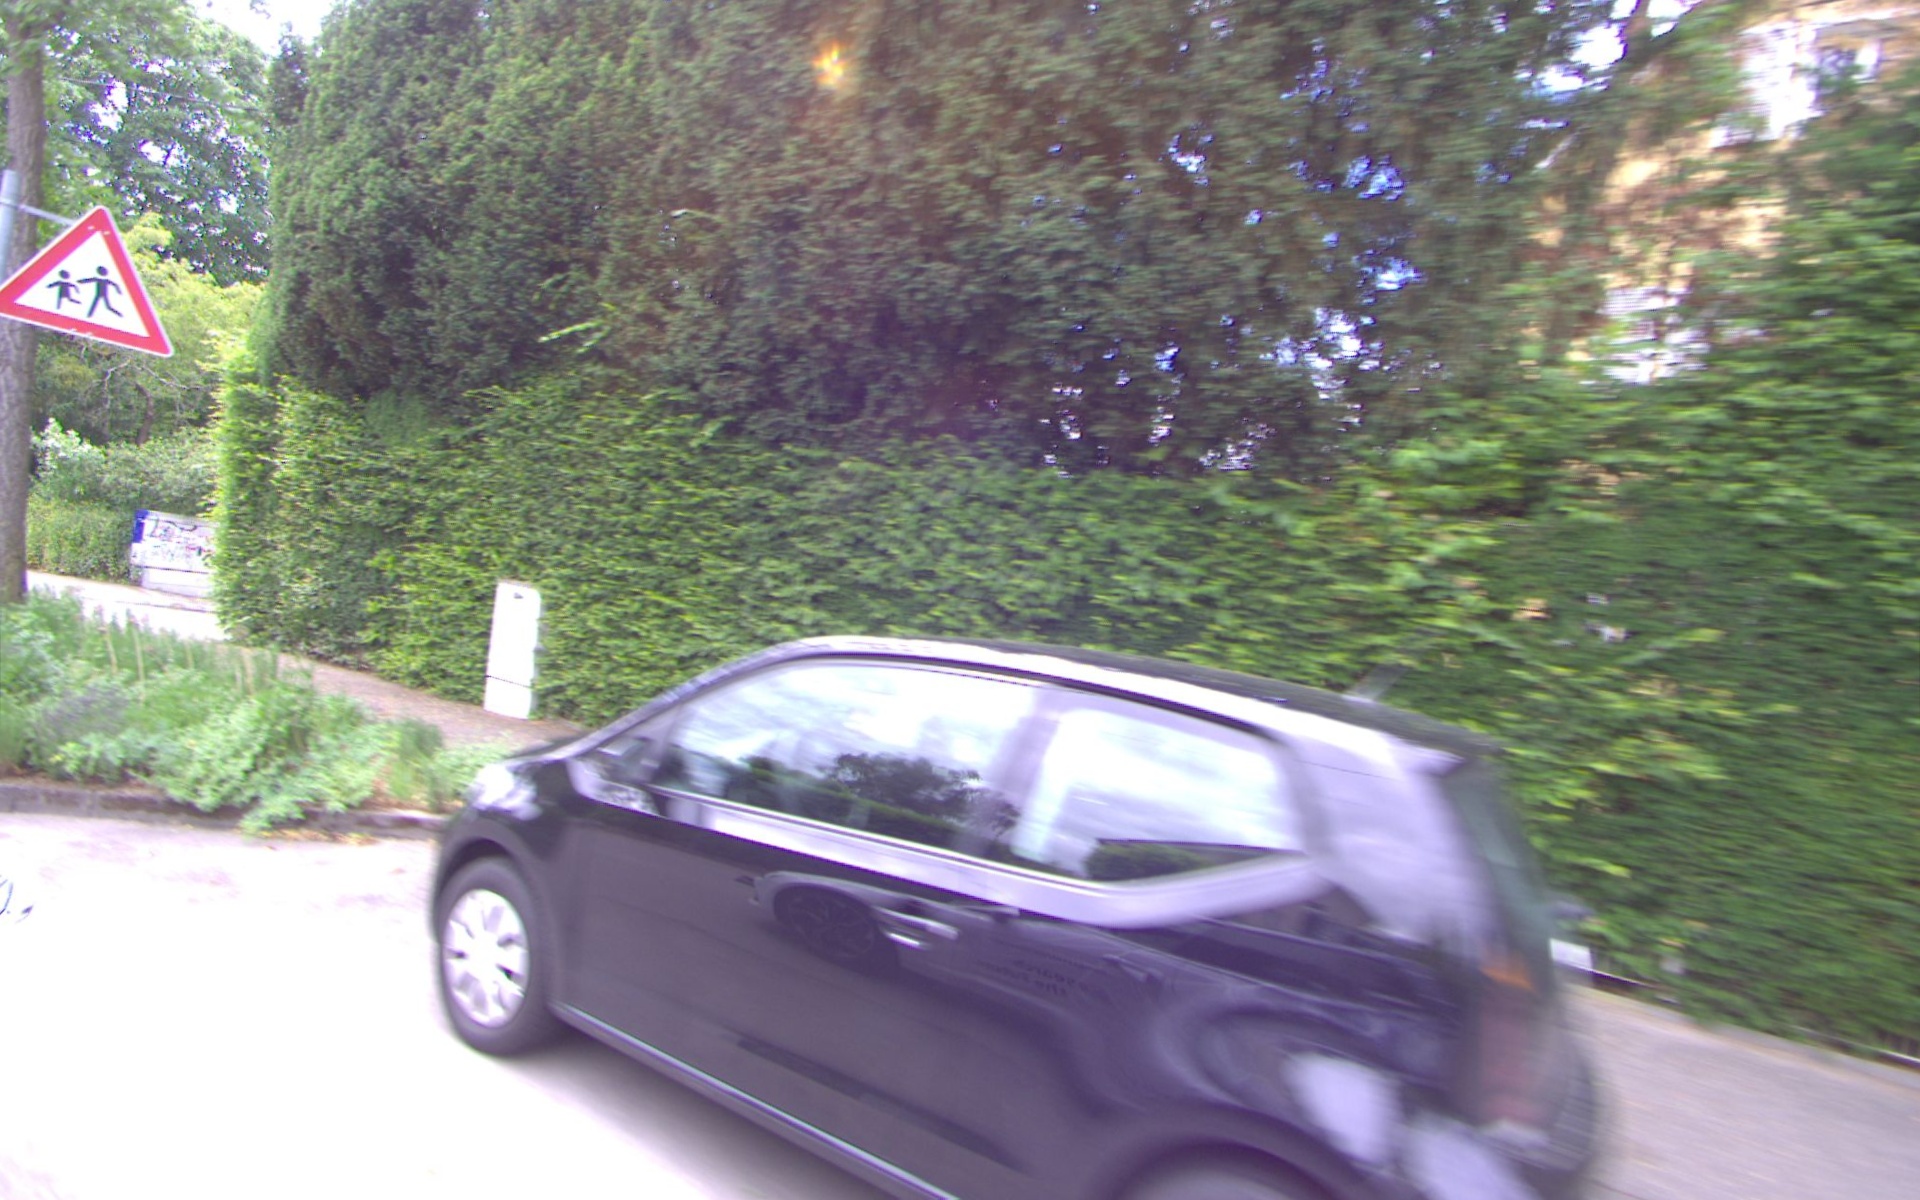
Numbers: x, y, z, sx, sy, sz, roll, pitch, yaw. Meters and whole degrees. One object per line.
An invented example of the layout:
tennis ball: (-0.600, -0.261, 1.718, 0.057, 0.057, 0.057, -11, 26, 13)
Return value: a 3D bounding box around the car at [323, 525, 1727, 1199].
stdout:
car: (-0.107, 0.762, 3.142, 3.678, 1.490, 1.626, 7, -1, 32)
